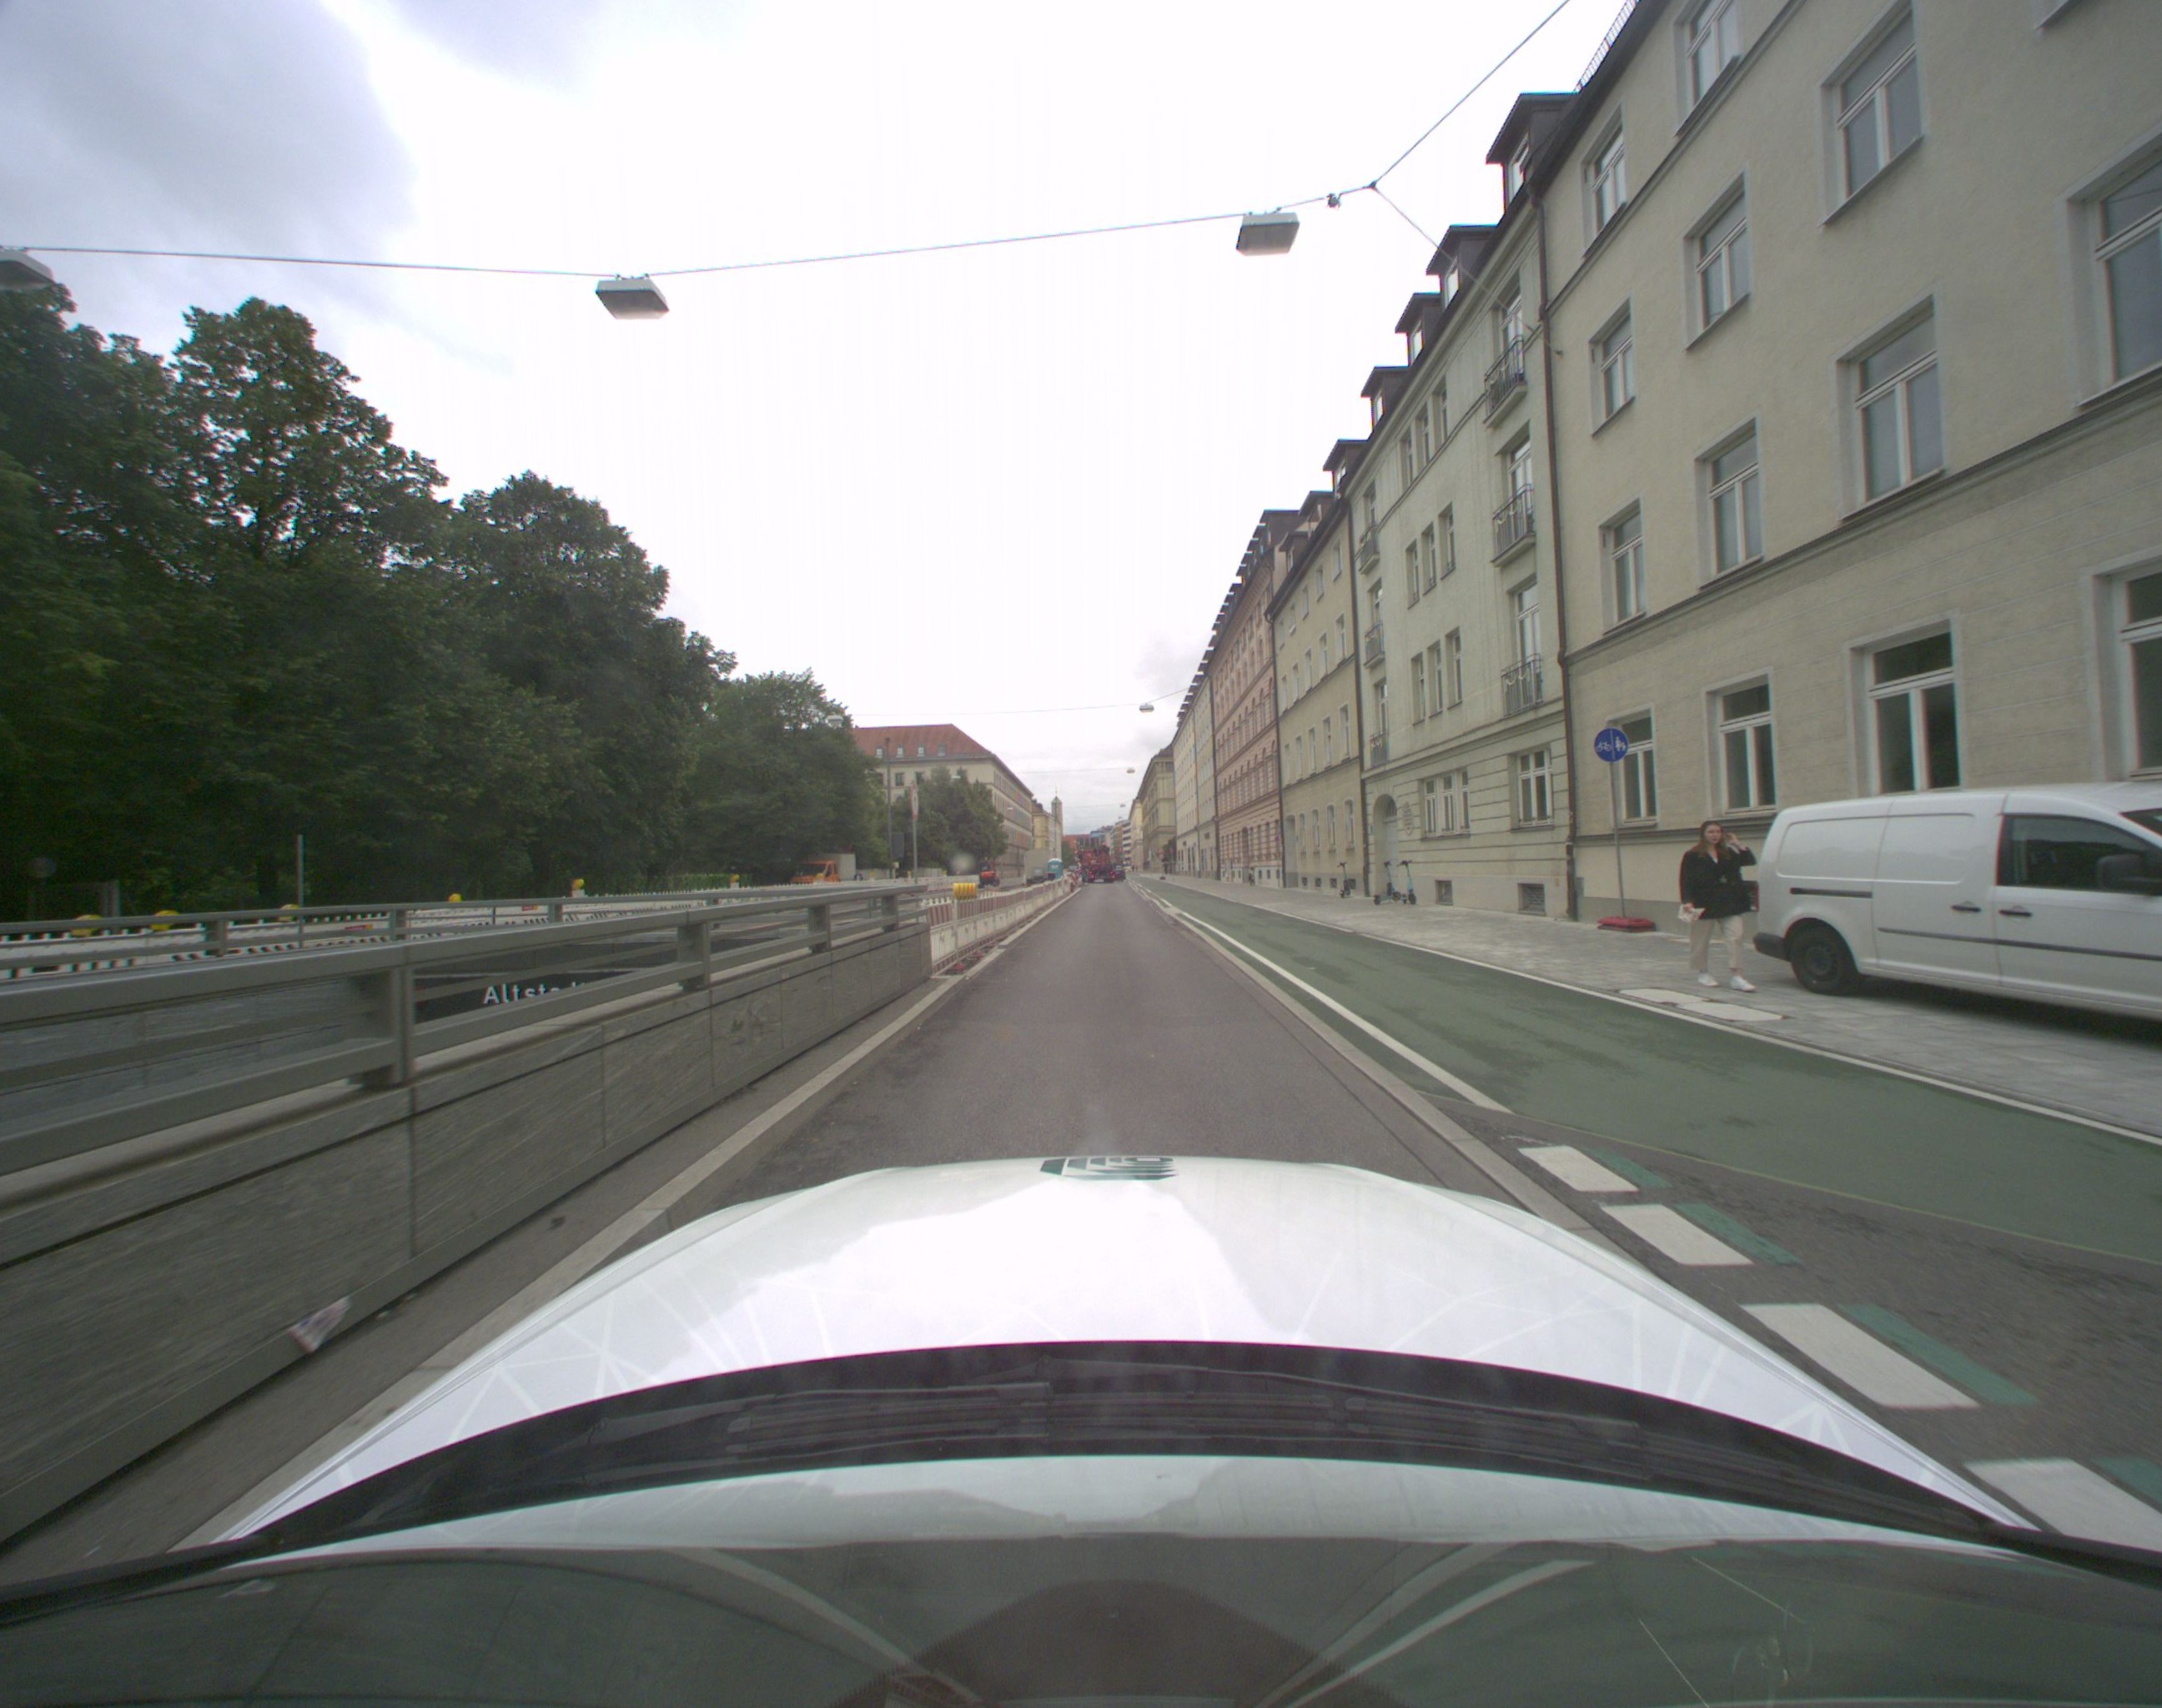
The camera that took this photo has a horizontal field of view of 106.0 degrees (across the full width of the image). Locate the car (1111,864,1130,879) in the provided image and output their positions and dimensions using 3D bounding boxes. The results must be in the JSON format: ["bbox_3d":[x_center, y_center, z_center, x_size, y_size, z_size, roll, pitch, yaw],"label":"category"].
[{"bbox_3d":[4.165,1.823,87.076,1.795,1.480,4.687,-3,-1,1],"label":"car"}]

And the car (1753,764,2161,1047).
[{"bbox_3d":[7.548,0.285,5.895,1.727,1.750,4.437,-3,-1,2],"label":"car"}]

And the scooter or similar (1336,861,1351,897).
[{"bbox_3d":[9.345,0.866,29.008,0.244,1.231,1.126,-5,-2,27],"label":"scooter or similar"}]

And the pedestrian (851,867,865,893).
[{"bbox_3d":[-13.911,1.596,50.789,0.660,1.603,0.698,-1,-1,2],"label":"pedestrian"}]

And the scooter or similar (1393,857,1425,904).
[{"bbox_3d":[9.268,0.733,23.025,0.385,1.272,1.120,-4,-2,1],"label":"scooter or similar"}]

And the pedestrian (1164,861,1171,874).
[{"bbox_3d":[12.525,1.964,117.990,0.787,1.836,0.777,-2,-1,3],"label":"pedestrian"}]

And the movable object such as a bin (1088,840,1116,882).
[{"bbox_3d":[1.913,0.683,74.896,2.415,3.612,5.851,-2,-1,1],"label":"movable object such as a bin"}]

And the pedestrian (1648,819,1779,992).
[{"bbox_3d":[6.340,0.497,8.201,0.662,1.636,0.737,-3,-1,1],"label":"pedestrian"}]

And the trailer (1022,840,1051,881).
[{"bbox_3d":[-3.767,0.566,69.848,2.222,3.244,7.510,-2,-1,-3],"label":"trailer"}]

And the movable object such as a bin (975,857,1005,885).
[{"bbox_3d":[-8.449,1.563,75.926,1.916,2.572,4.496,-1,-1,3],"label":"movable object such as a bin"}]

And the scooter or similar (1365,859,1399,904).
[{"bbox_3d":[8.890,0.807,24.045,1.123,1.231,0.244,-3,-2,-32],"label":"scooter or similar"}]

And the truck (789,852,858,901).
[{"bbox_3d":[-15.418,1.306,49.177,1.985,2.728,5.873,-2,-1,3],"label":"truck"}]

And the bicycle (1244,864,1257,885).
[{"bbox_3d":[9.869,1.202,47.366,0.422,1.174,1.740,-3,-1,19],"label":"bicycle"}]
